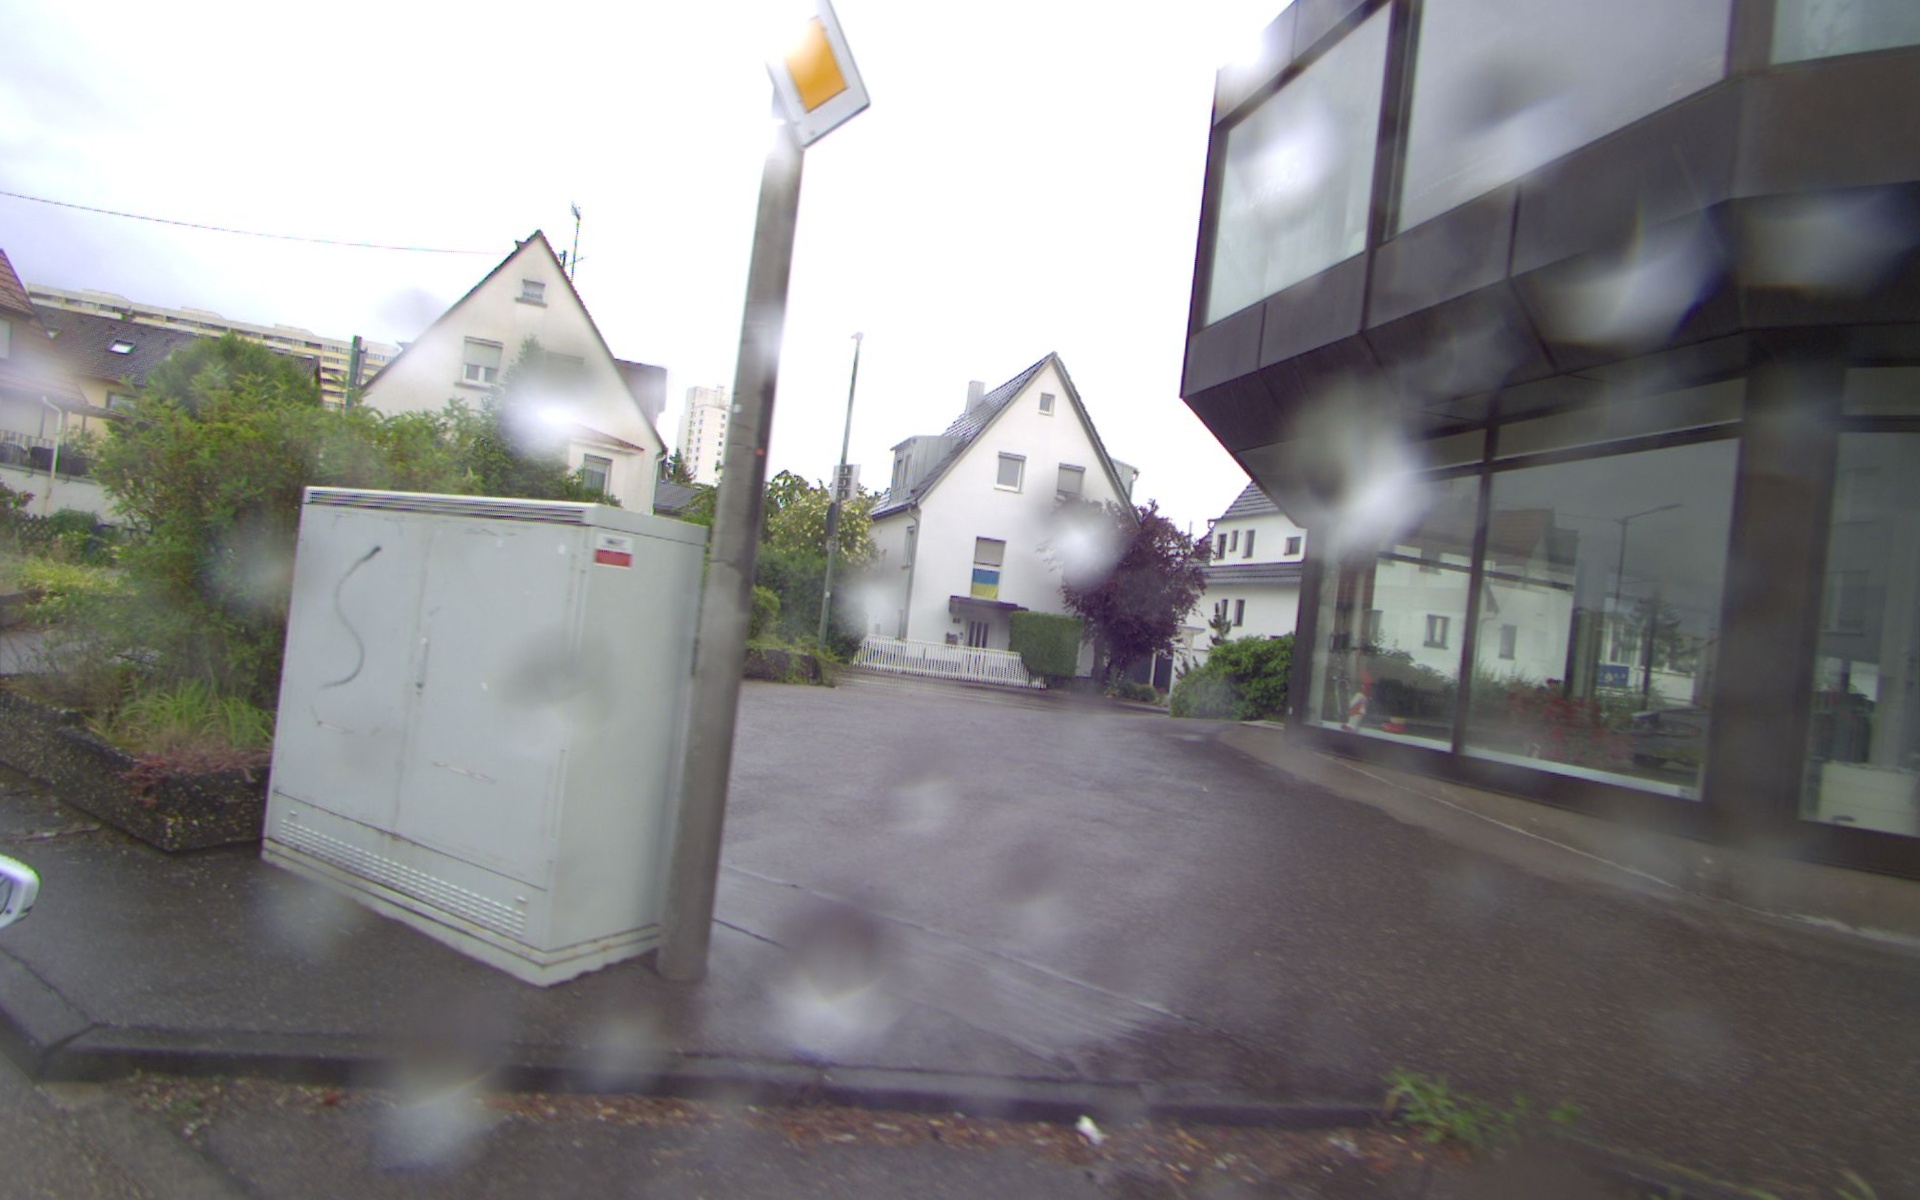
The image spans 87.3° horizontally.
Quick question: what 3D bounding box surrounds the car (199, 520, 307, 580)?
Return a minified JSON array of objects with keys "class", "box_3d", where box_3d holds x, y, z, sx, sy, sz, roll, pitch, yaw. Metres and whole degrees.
[{"class":"car","box_3d":[-22.221,-1.528,31.787,1.722,1.532,3.981,8,-1,-21]}]
